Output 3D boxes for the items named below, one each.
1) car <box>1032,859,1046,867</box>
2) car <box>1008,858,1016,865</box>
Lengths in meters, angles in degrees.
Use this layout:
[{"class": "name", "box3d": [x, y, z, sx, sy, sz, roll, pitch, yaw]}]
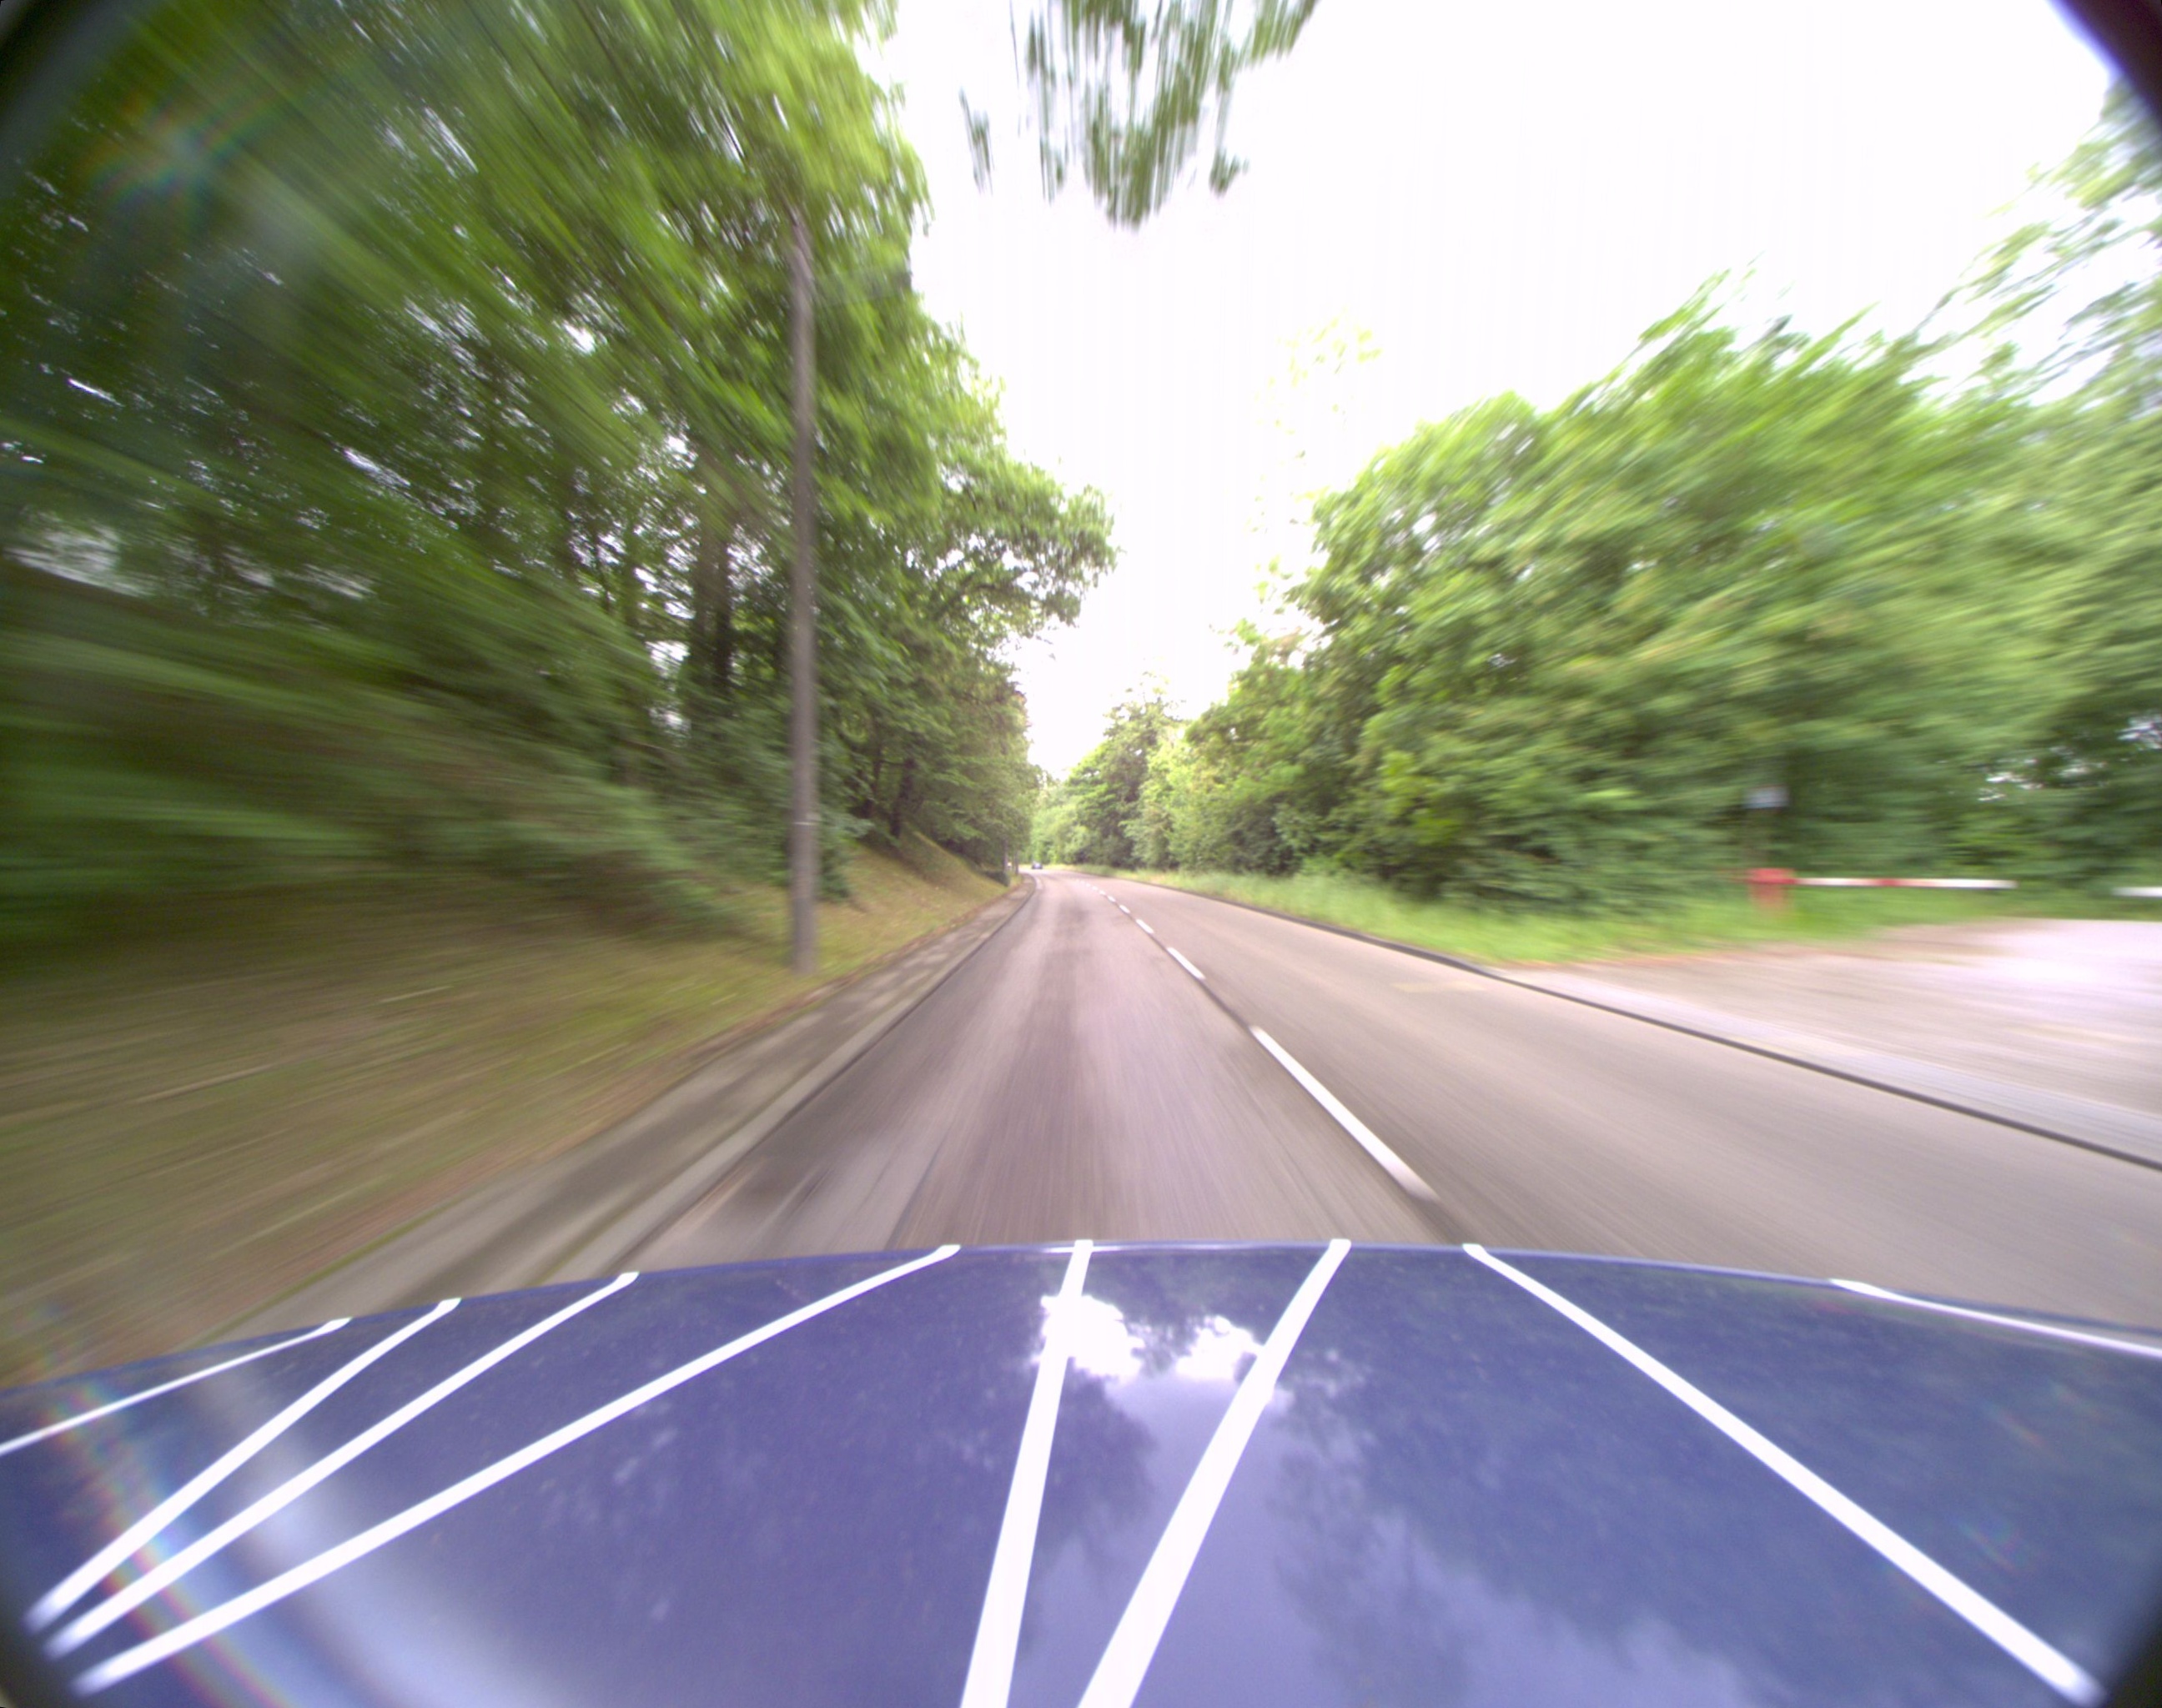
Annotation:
[{"class": "car", "box3d": [-8.005, 1.713, 143.352, 2.000, 1.429, 3.996, -2, 1, -11]}, {"class": "car", "box3d": [-17.676, 1.985, 194.087, 1.824, 1.685, 4.284, -2, 1, -7]}]
